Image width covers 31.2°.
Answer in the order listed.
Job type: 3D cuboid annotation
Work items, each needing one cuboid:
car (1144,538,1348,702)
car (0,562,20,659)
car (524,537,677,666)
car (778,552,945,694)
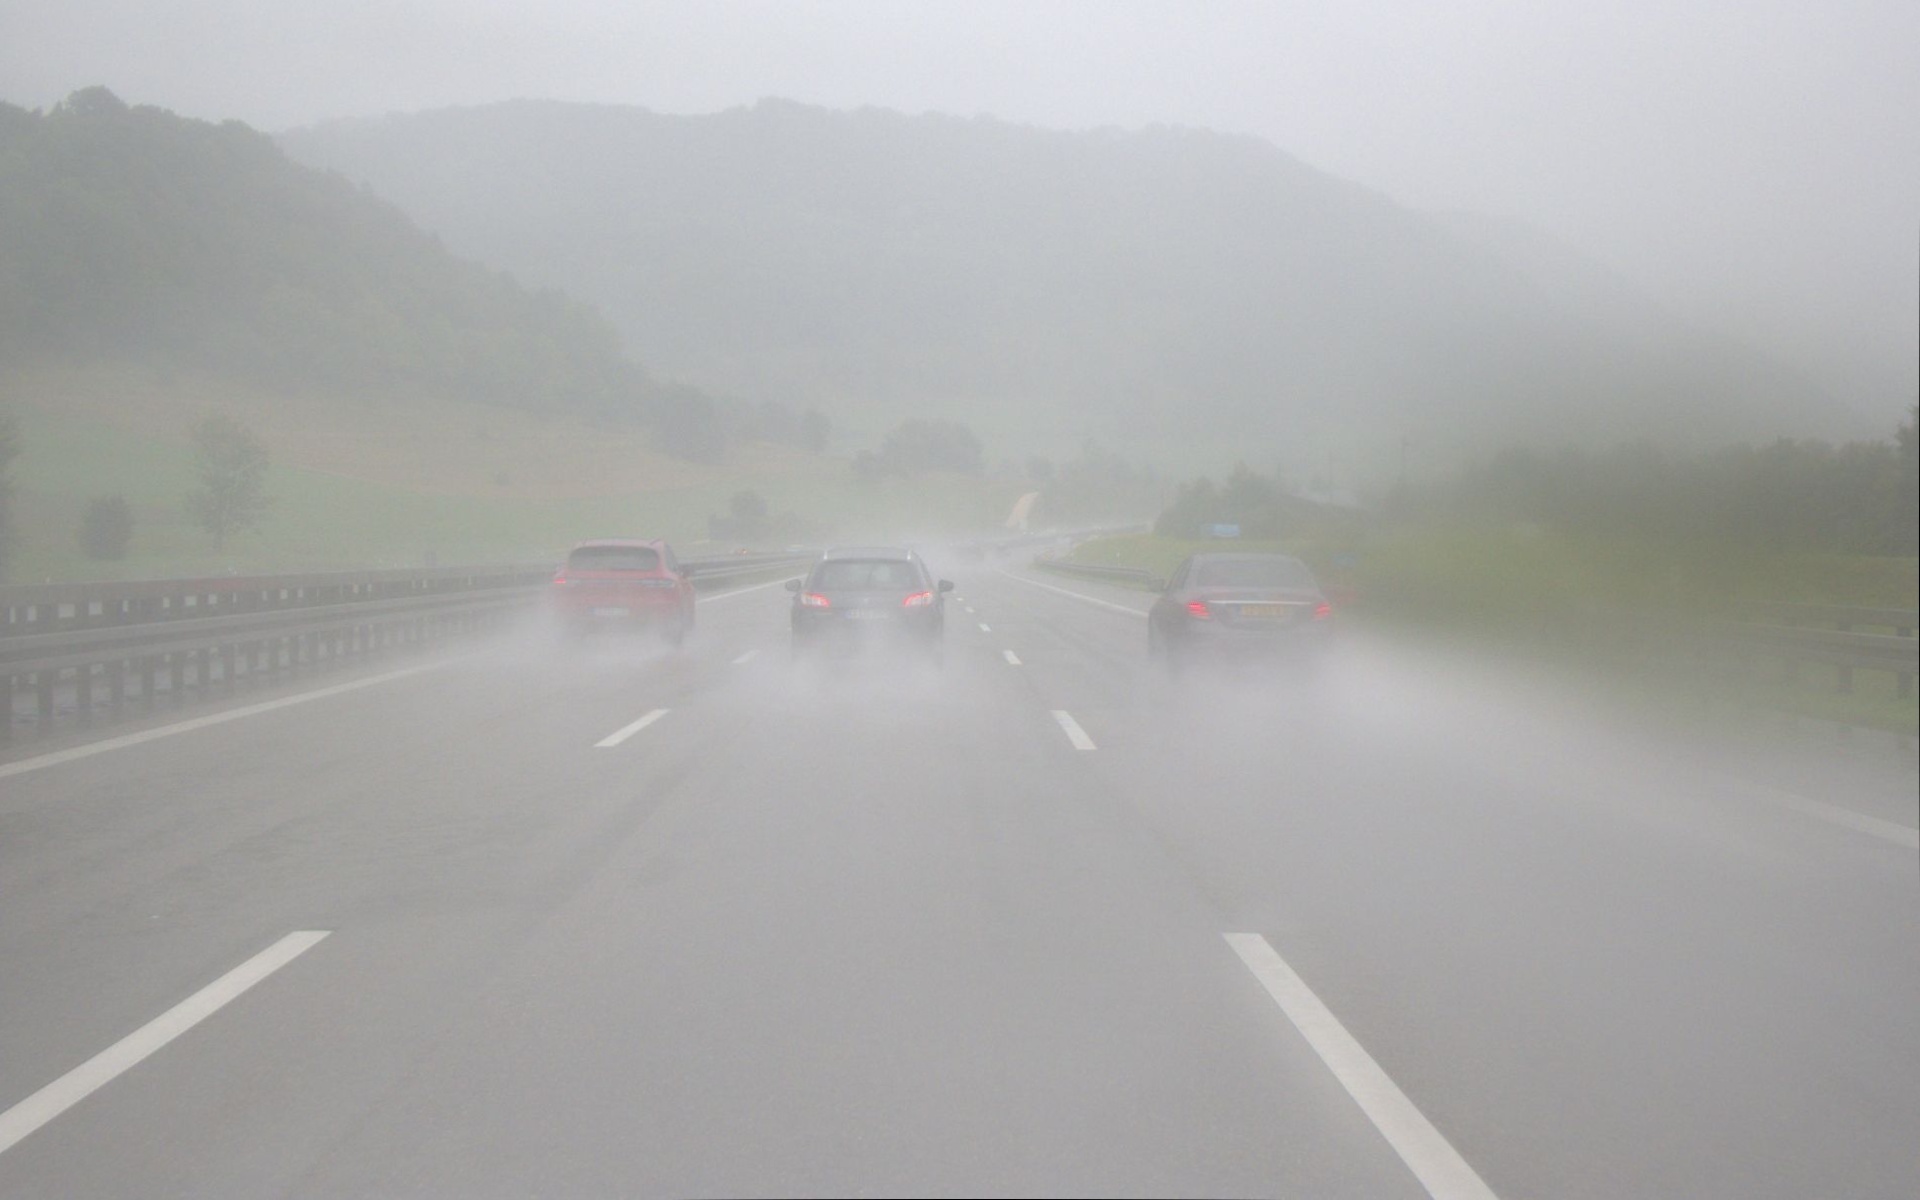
[{"bbox_3d":[3.212,0.181,39.316,1.971,1.754,4.000,-1,1,0],"label":"car"},{"bbox_3d":[-17.855,0.230,59.067,1.993,1.686,5.305,-1,1,-1],"label":"car"},{"bbox_3d":[-5.221,-0.016,50.379,1.884,1.809,4.000,0,1,-1],"label":"car"},{"bbox_3d":[-1.128,0.237,40.934,1.859,1.584,4.000,1,1,0],"label":"car"}]
